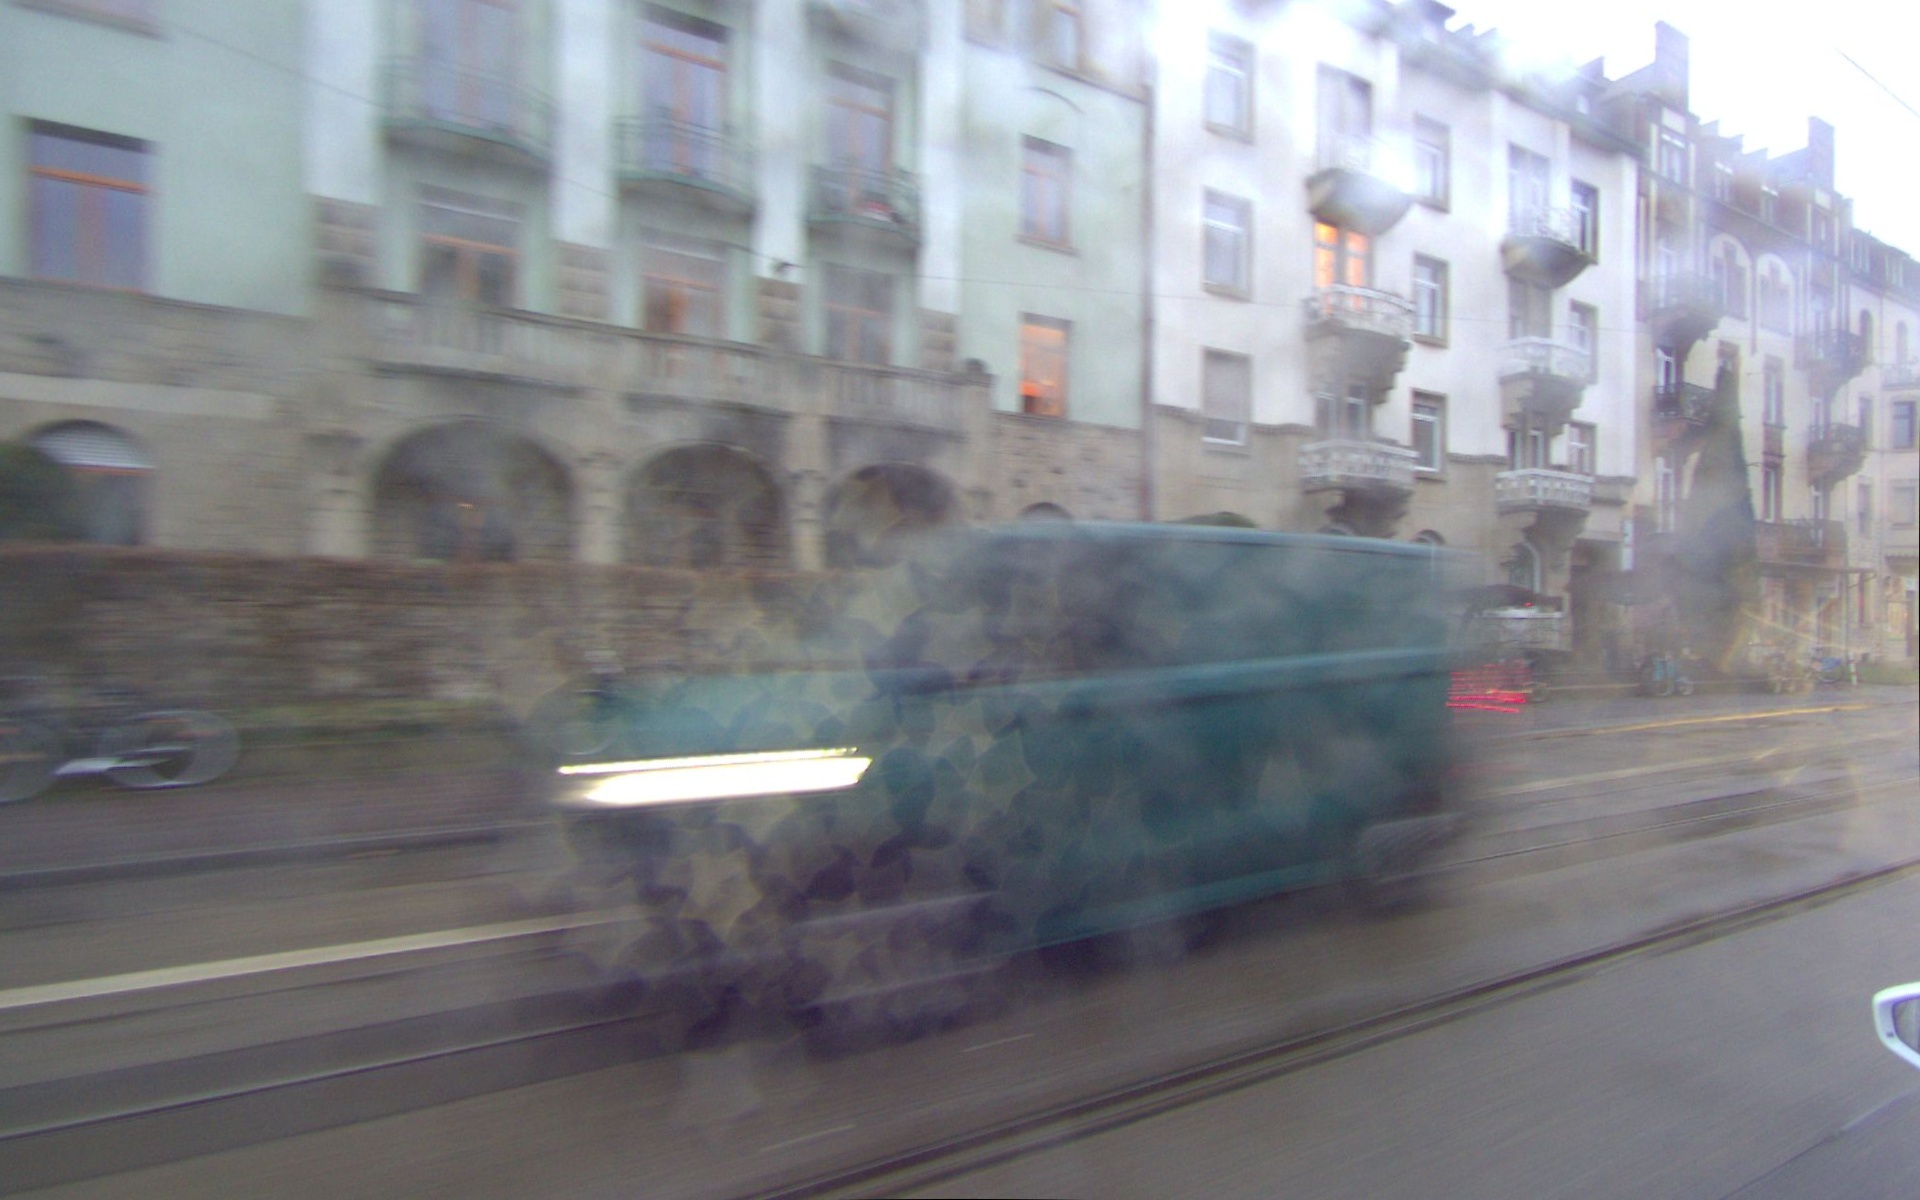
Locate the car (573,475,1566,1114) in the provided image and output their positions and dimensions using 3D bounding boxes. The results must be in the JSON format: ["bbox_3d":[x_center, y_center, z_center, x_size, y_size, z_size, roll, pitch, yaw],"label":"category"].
[{"bbox_3d":[0.803,0.631,5.287,5.043,1.947,2.035,0,-1,-32],"label":"car"}]

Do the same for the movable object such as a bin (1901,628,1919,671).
[{"bbox_3d":[35.486,1.794,36.597,1.348,1.551,1.402,0,-1,-30],"label":"movable object such as a bin"}]

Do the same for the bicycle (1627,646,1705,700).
[{"bbox_3d":[14.290,1.454,20.323,1.785,1.031,0.622,1,-2,-32],"label":"bicycle"}]

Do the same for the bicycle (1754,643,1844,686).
[{"bbox_3d":[22.979,1.748,27.534,0.610,1.095,1.792,0,-1,-36],"label":"bicycle"}]

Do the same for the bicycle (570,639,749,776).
[{"bbox_3d":[-2.955,1.011,9.951,1.583,1.228,0.624,1,-1,-40],"label":"bicycle"}]

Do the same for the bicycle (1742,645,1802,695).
[{"bbox_3d":[18.923,1.604,23.388,1.792,1.095,0.610,0,-1,-35],"label":"bicycle"}]

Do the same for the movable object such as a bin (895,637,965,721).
[{"bbox_3d":[-0.432,1.108,14.347,0.738,1.152,0.687,1,-1,-44],"label":"movable object such as a bin"}]

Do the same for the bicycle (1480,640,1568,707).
[{"bbox_3d":[9.992,1.278,17.783,1.909,1.114,0.484,1,-2,-32],"label":"bicycle"}]

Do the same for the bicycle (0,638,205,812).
[{"bbox_3d":[-6.789,0.917,7.687,1.581,1.228,0.687,0,-1,-36],"label":"bicycle"}]

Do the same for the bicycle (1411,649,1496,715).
[{"bbox_3d":[8.241,1.342,16.766,1.583,1.044,0.686,2,-2,-40],"label":"bicycle"}]

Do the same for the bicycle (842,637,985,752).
[{"bbox_3d":[-0.526,1.063,11.760,1.583,1.228,0.686,1,-1,-40],"label":"bicycle"}]
